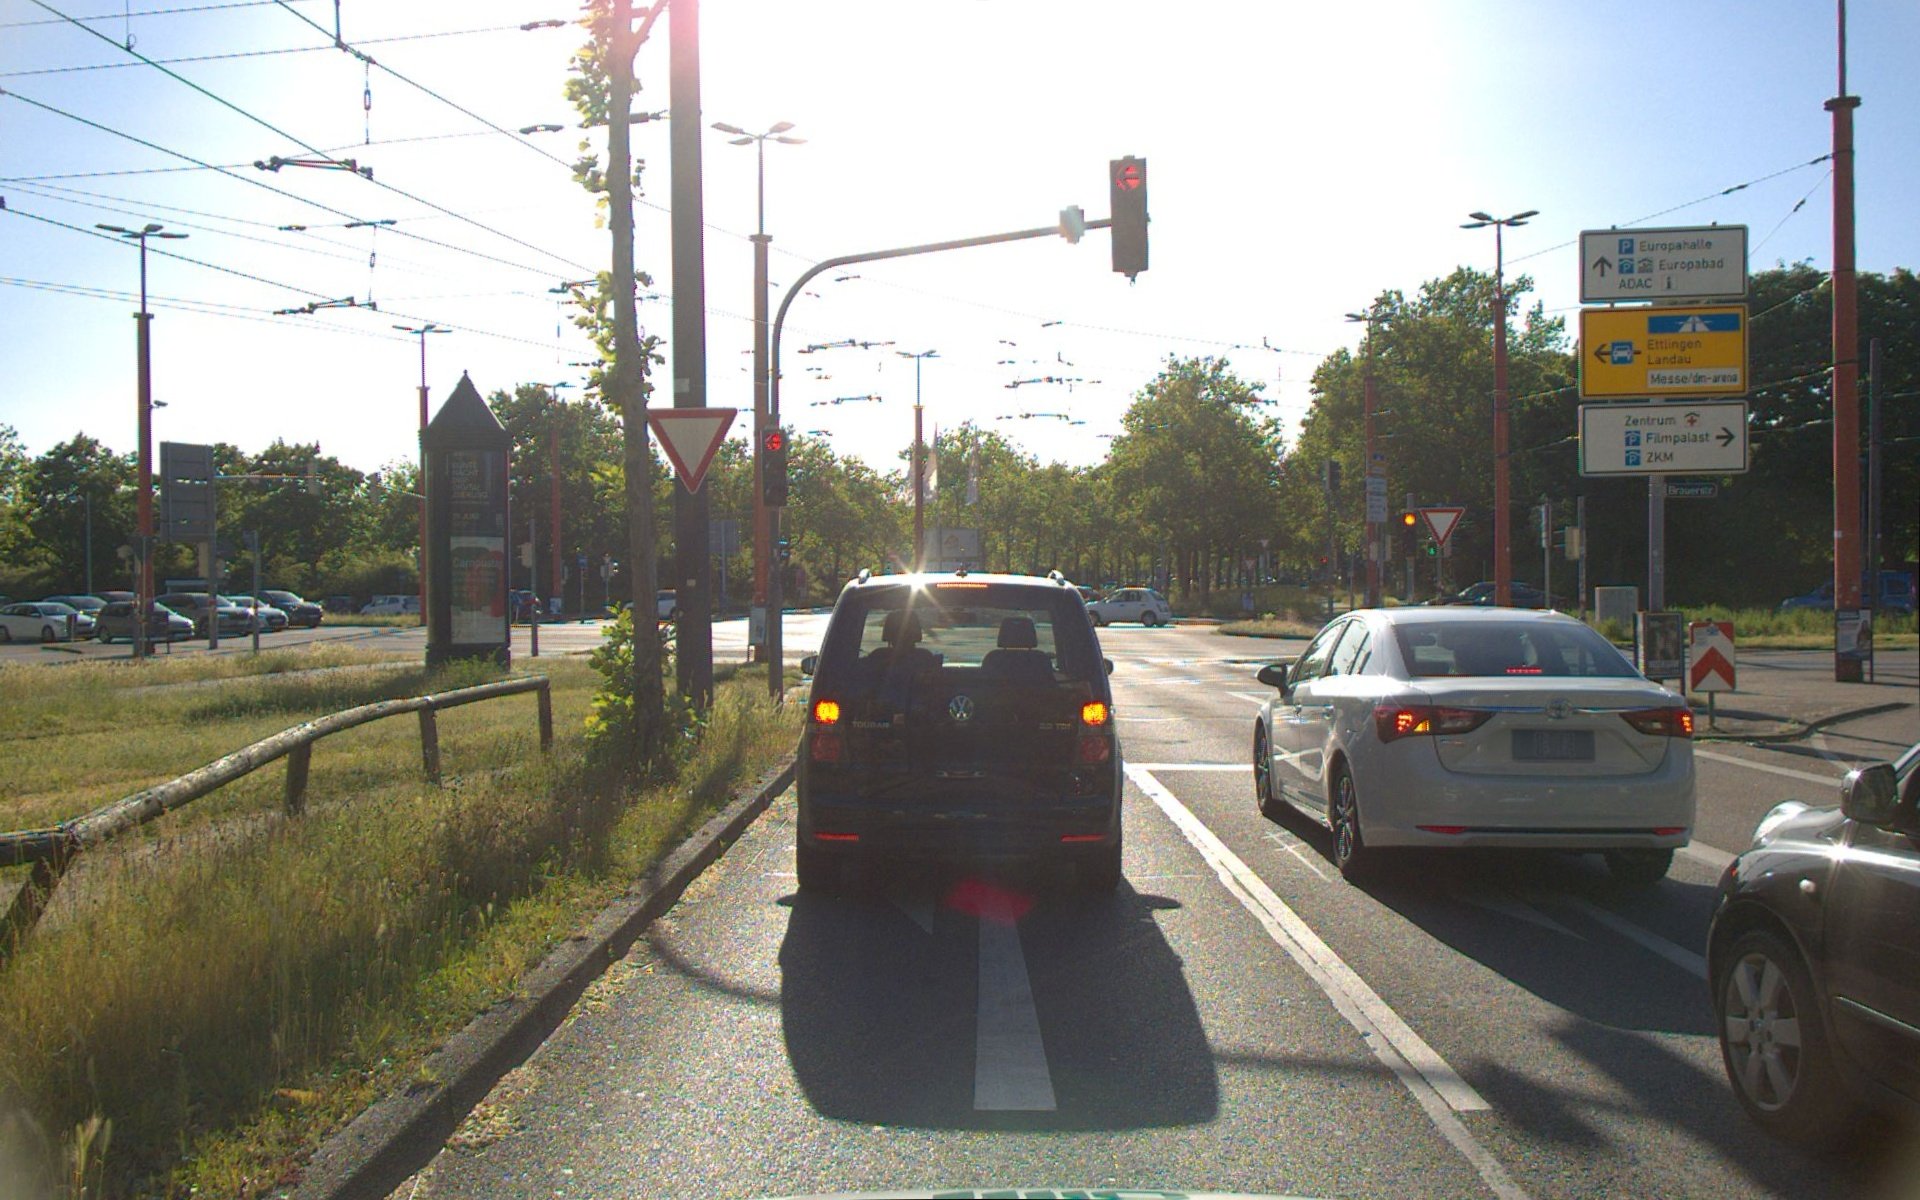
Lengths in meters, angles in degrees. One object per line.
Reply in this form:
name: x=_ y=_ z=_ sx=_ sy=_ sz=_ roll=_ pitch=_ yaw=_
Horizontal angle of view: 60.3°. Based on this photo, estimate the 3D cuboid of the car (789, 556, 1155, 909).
car: x=0.070 y=0.633 z=9.957 sx=1.703 sy=1.630 sz=4.326 roll=1 pitch=0 yaw=0

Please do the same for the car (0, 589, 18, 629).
car: x=-42.983 y=0.374 z=71.629 sx=4.541 sy=1.676 sz=1.753 roll=0 pitch=0 yaw=30

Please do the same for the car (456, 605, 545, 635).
car: x=-22.446 y=0.957 z=80.782 sx=4.035 sy=1.427 sz=1.656 roll=0 pitch=0 yaw=23

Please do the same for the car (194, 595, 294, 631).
car: x=-29.402 y=0.525 z=67.920 sx=4.060 sy=1.440 sz=1.542 roll=0 pitch=0 yaw=26

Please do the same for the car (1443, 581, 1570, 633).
car: x=19.528 y=0.231 z=59.161 sx=4.042 sy=1.822 sz=1.795 roll=0 pitch=0 yaw=30

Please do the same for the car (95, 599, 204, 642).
car: x=-29.542 y=0.723 z=60.294 sx=3.755 sy=1.466 sz=1.655 roll=0 pitch=0 yaw=27

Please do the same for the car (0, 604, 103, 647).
car: x=-34.936 y=0.962 z=63.247 sx=4.536 sy=1.546 sz=1.654 roll=0 pitch=0 yaw=30

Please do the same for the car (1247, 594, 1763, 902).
car: x=3.018 y=0.726 z=10.179 sx=1.762 sy=1.465 sz=4.326 roll=1 pitch=0 yaw=0

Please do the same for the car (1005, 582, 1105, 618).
car: x=4.112 y=-0.018 z=71.922 sx=4.037 sy=1.497 sz=1.655 roll=0 pitch=0 yaw=25

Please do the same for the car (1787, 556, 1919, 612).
car: x=29.863 y=-0.533 z=55.145 sx=4.041 sy=1.822 sz=1.796 roll=0 pitch=0 yaw=29

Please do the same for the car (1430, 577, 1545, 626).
car: x=20.430 y=0.049 z=64.056 sx=4.037 sy=1.822 sz=1.797 roll=0 pitch=0 yaw=25

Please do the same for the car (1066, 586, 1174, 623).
car: x=6.452 y=0.174 z=66.663 sx=4.039 sy=1.427 sz=1.655 roll=0 pitch=0 yaw=27

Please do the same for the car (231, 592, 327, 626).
car: x=-29.466 y=0.366 z=71.543 sx=4.060 sy=1.440 sz=1.542 roll=0 pitch=0 yaw=26

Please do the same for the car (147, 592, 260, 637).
car: x=-29.316 y=0.534 z=64.085 sx=4.541 sy=1.676 sz=1.654 roll=0 pitch=0 yaw=30

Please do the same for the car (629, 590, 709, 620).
car: x=-14.243 y=0.234 z=80.960 sx=3.723 sy=1.427 sz=1.652 roll=1 pitch=0 yaw=33

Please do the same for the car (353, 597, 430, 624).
car: x=-30.652 y=0.547 z=89.180 sx=3.714 sy=1.427 sz=1.656 roll=0 pitch=0 yaw=22

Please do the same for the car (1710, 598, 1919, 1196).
car: x=3.139 y=0.740 z=3.482 sx=1.544 sy=1.465 sz=3.441 roll=1 pitch=0 yaw=0
